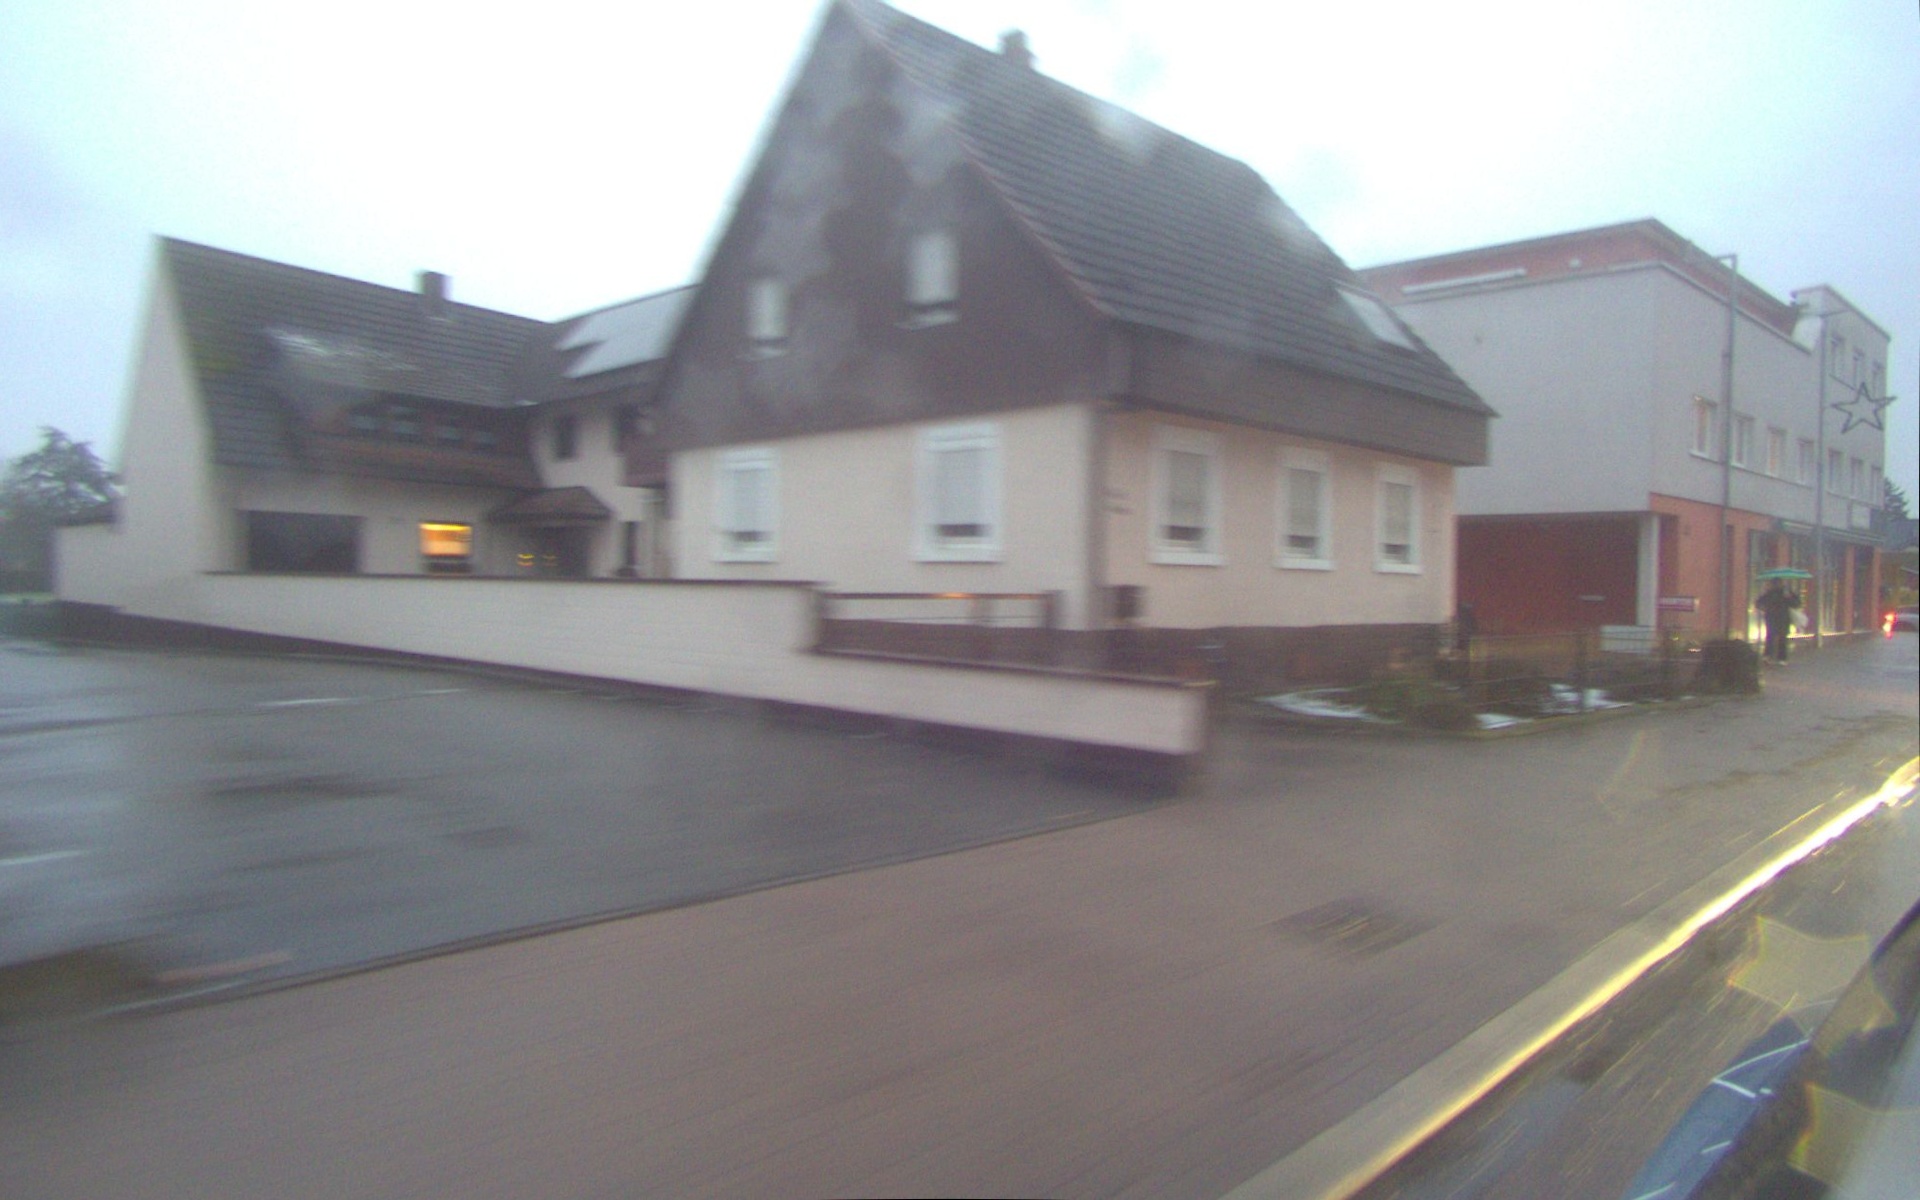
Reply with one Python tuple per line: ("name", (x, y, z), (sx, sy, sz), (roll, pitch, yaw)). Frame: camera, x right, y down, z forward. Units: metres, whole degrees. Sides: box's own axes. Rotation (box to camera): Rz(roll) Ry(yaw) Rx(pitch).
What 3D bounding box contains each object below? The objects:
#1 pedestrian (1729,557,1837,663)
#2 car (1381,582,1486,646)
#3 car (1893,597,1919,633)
("pedestrian", (15.637, 0.162, 19.234), (1.279, 1.888, 1.259), (0, 3, -37))
("car", (11.611, 0.279, 24.684), (1.866, 1.274, 4.125), (2, 3, 31))
("car", (40.824, 0.589, 41.029), (1.765, 1.460, 4.177), (2, -2, -40))
